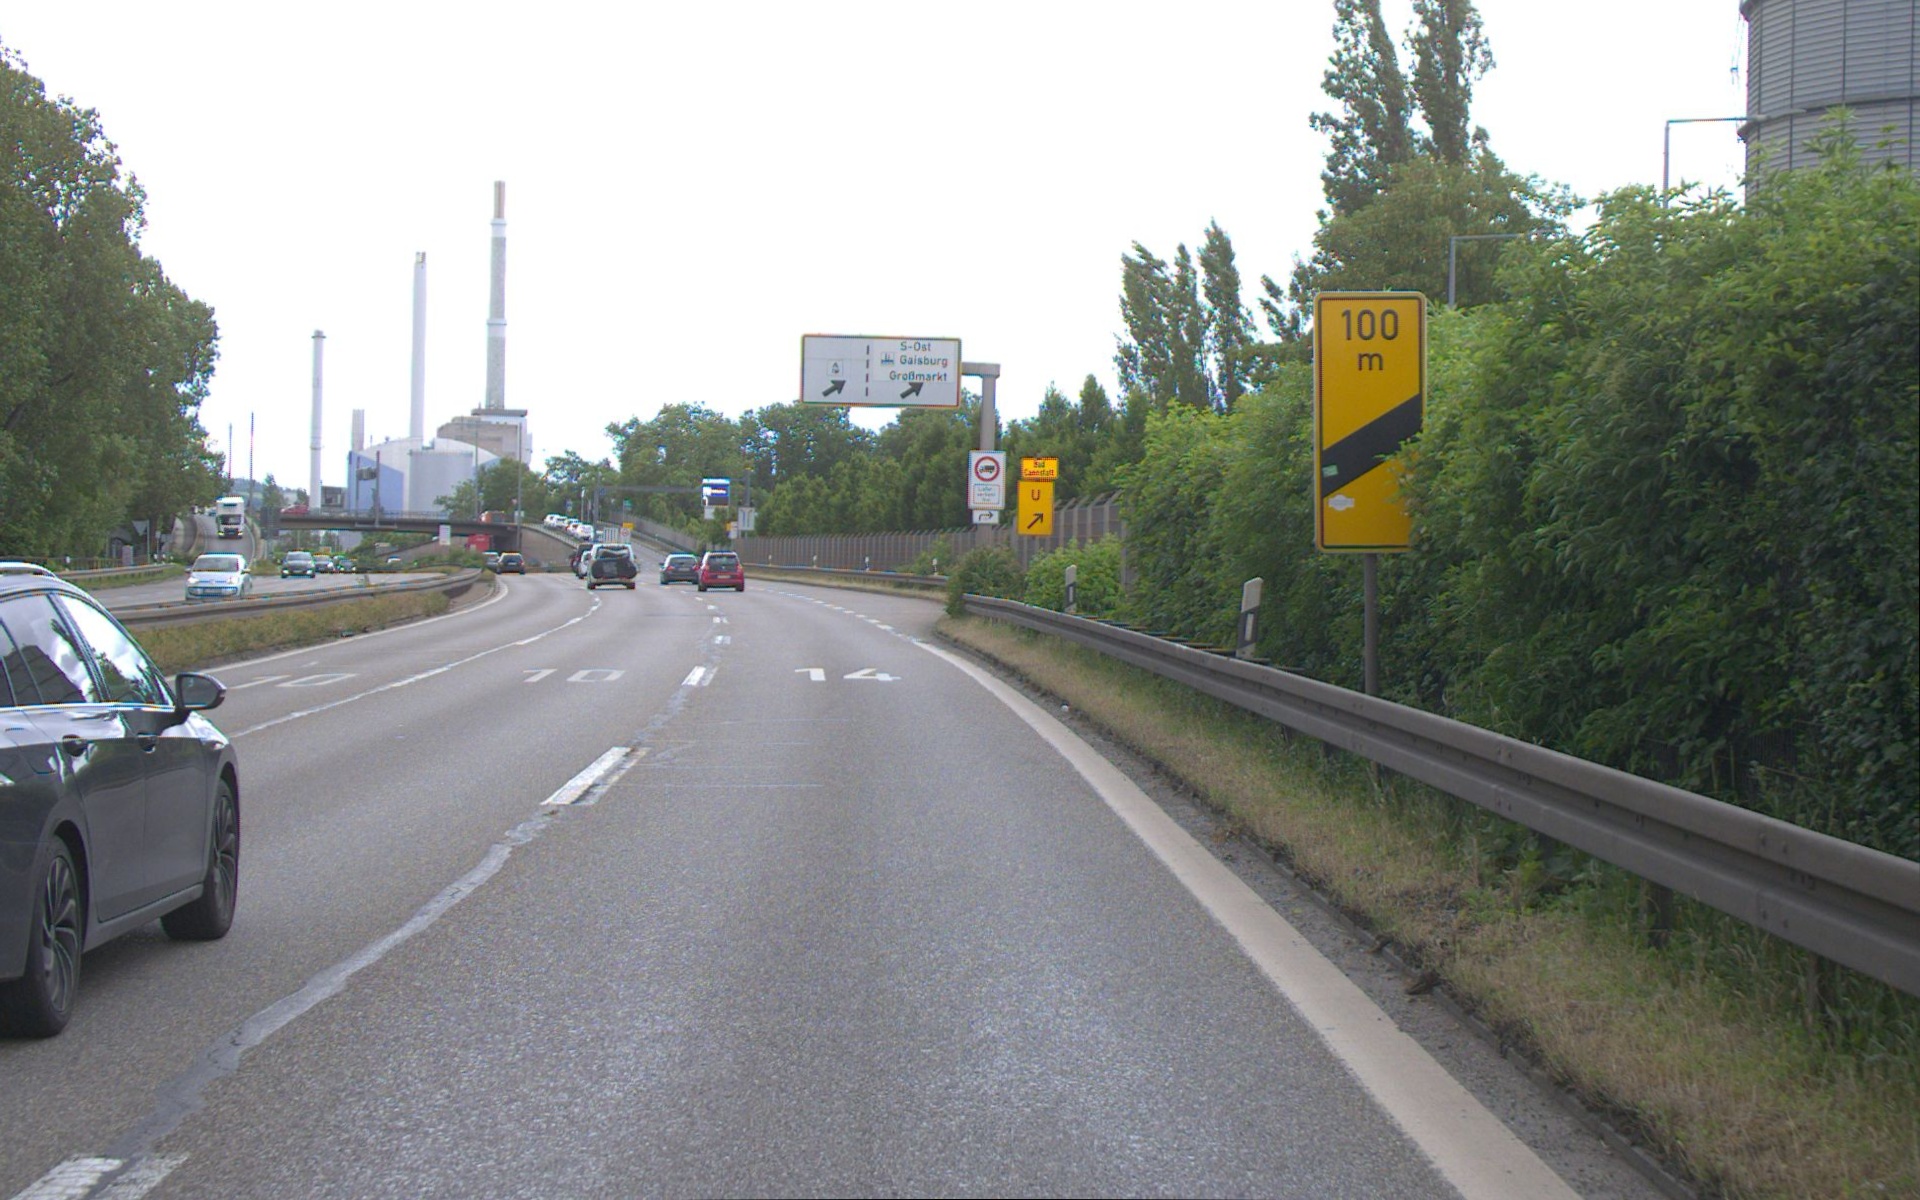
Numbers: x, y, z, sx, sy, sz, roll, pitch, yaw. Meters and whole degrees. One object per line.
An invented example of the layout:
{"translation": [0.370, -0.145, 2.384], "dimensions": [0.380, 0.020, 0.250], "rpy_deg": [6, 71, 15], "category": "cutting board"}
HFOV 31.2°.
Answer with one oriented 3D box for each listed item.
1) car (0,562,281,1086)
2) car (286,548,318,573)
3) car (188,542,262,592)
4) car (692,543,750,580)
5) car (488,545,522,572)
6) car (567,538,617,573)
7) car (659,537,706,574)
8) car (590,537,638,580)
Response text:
{"translation": [-3.688, 0.604, 11.823], "dimensions": [1.845, 1.418, 4.901], "rpy_deg": [2, 1, -2], "category": "car"}
{"translation": [-37.569, -2.255, 196.219], "dimensions": [1.697, 1.408, 4.639], "rpy_deg": [0, 1, -10], "category": "car"}
{"translation": [-21.575, -0.980, 100.984], "dimensions": [1.614, 1.381, 3.733], "rpy_deg": [1, 1, -4], "category": "car"}
{"translation": [-9.367, -1.504, 134.437], "dimensions": [1.974, 1.418, 4.902], "rpy_deg": [0, 1, -8], "category": "car"}
{"translation": [-30.118, -2.758, 227.465], "dimensions": [1.697, 1.736, 4.394], "rpy_deg": [0, 1, -14], "category": "car"}
{"translation": [-20.232, -2.454, 188.921], "dimensions": [2.013, 1.927, 4.902], "rpy_deg": [0, 1, -15], "category": "car"}
{"translation": [-13.149, -2.119, 162.724], "dimensions": [1.697, 1.736, 4.394], "rpy_deg": [0, 1, -12], "category": "car"}
{"translation": [-14.273, -1.717, 141.799], "dimensions": [1.697, 1.736, 4.001], "rpy_deg": [0, 1, -10], "category": "car"}
